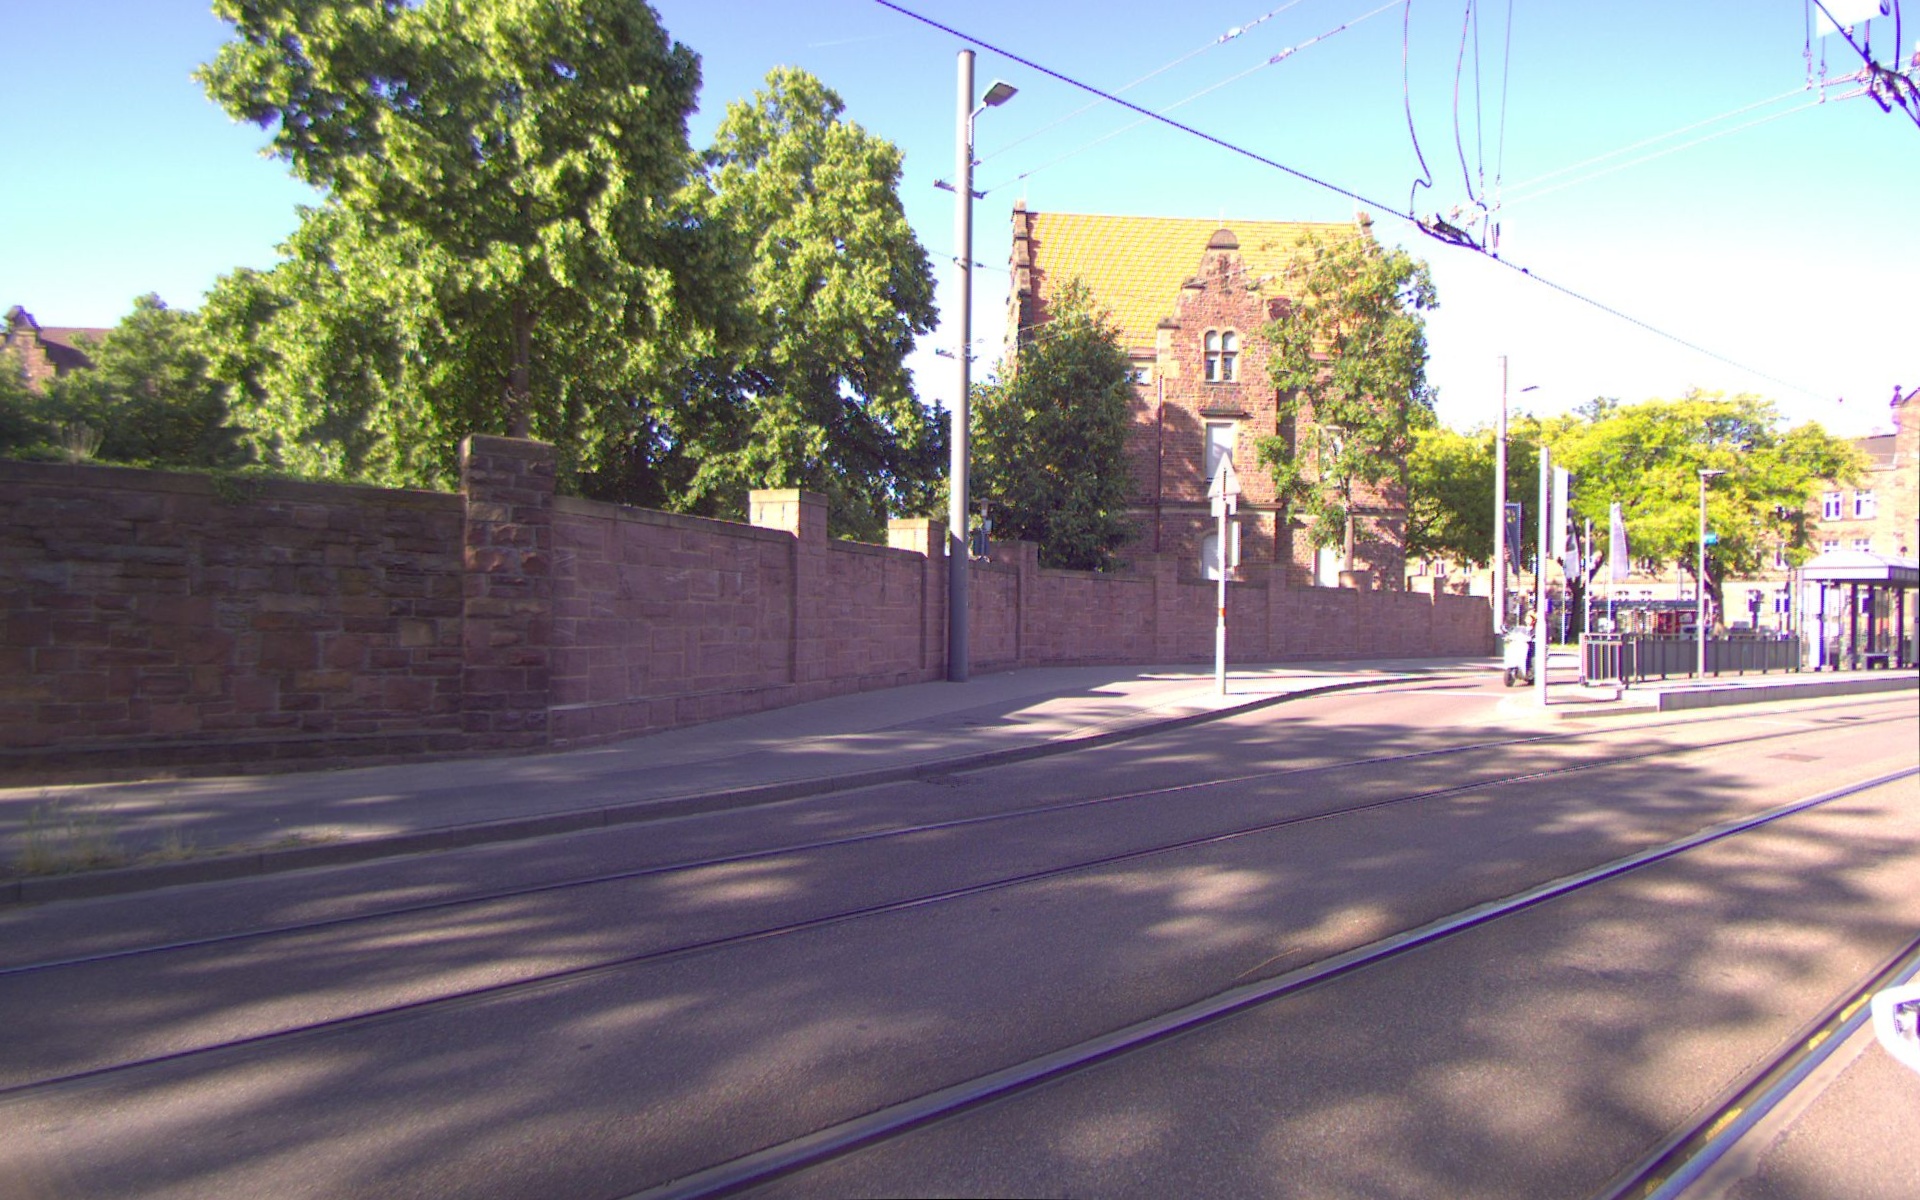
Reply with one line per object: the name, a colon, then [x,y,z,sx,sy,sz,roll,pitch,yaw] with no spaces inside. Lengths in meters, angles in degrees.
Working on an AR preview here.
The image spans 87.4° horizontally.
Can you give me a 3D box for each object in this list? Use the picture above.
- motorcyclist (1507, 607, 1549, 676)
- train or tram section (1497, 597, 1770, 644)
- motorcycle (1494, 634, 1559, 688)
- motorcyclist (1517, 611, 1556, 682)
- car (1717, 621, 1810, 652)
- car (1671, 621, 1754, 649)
motorcyclist: [12.299,0.891,21.746,0.443,1.460,0.678,1,0,-39]
train or tram section: [50.035,1.465,75.887,3.312,3.196,17.280,2,-1,-33]
motorcycle: [12.277,1.294,21.737,1.841,1.108,0.604,1,0,-39]
motorcyclist: [12.662,1.010,22.048,0.462,1.536,0.601,1,0,-39]
car: [47.759,2.165,59.798,1.798,1.651,3.964,2,0,-32]
car: [49.184,2.248,65.682,1.798,1.651,3.964,2,0,-32]
